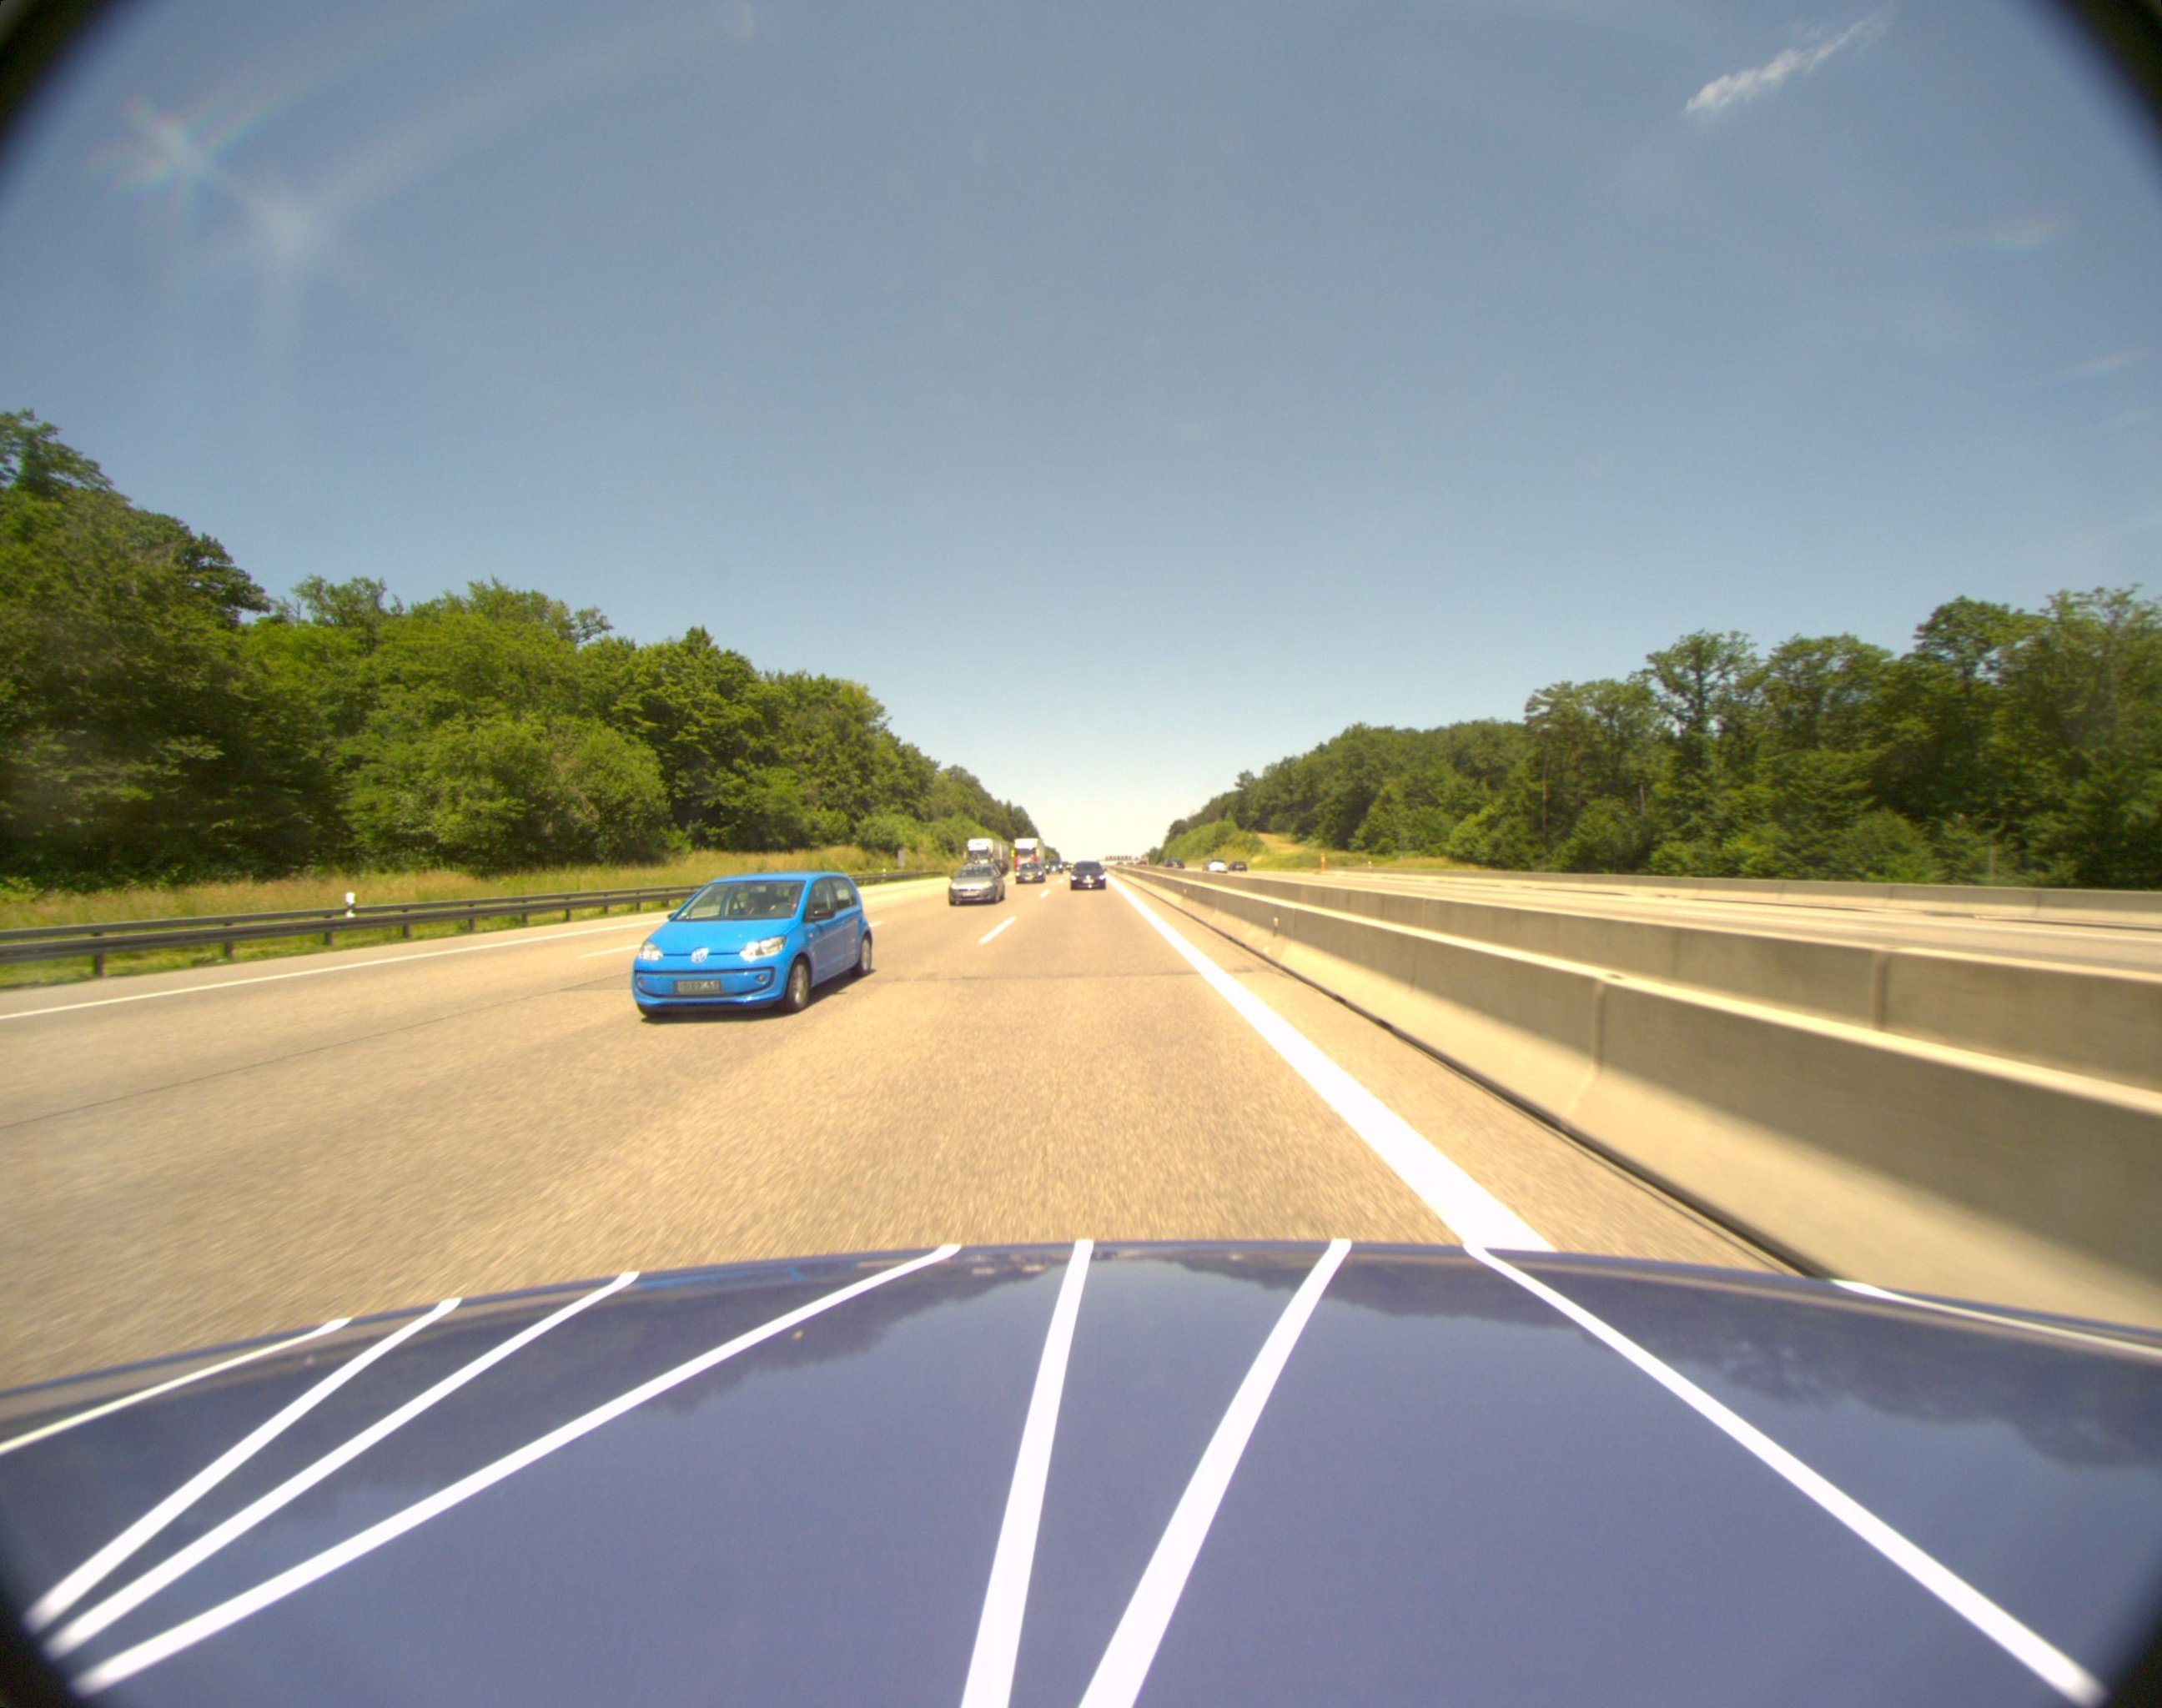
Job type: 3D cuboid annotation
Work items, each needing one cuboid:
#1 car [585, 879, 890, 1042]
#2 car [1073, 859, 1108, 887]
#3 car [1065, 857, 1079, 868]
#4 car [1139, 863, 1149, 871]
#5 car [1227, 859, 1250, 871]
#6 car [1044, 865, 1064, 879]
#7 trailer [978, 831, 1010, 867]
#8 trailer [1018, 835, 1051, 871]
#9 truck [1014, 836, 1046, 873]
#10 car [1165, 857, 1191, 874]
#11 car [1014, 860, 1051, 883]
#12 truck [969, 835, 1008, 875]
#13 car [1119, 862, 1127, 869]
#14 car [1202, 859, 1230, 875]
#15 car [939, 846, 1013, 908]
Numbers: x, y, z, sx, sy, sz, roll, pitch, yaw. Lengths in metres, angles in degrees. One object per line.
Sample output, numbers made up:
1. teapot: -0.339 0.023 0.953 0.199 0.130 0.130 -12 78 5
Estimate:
1. car: -3.710 1.056 9.081 1.741 1.402 4.000 -1 0 1
2. car: 0.545 1.068 42.180 1.777 1.425 4.144 -2 -1 1
3. car: -1.428 1.347 118.290 1.910 1.503 4.161 -2 -1 2
4. car: 15.000 3.118 181.411 1.998 1.665 5.281 2 -1 0
5. car: 20.261 1.387 97.825 1.843 1.432 4.764 2 0 0
6. car: -2.930 1.961 84.311 1.910 1.503 4.161 -2 -1 2
7. trailer: -10.384 -0.474 91.315 2.585 4.045 8.385 -2 -1 1
8. trailer: -5.700 0.078 95.361 2.926 4.117 14.853 0 -2 1
9. truck: -5.867 0.151 88.527 3.018 3.956 7.542 -1 -1 1
10. car: 8.933 1.037 70.617 1.843 1.432 4.845 -1 0 1
11. car: -3.315 1.205 52.788 1.971 1.444 5.226 -2 -1 3
12. truck: -10.396 0.181 86.074 2.728 4.135 10.972 -2 -1 1
13. car: 10.938 2.915 198.175 1.998 1.663 5.281 2 -1 0
14. car: 12.209 1.139 69.019 1.843 1.432 4.000 -1 0 0
15. car: -3.812 0.807 28.506 1.966 2.041 4.784 -2 0 1
